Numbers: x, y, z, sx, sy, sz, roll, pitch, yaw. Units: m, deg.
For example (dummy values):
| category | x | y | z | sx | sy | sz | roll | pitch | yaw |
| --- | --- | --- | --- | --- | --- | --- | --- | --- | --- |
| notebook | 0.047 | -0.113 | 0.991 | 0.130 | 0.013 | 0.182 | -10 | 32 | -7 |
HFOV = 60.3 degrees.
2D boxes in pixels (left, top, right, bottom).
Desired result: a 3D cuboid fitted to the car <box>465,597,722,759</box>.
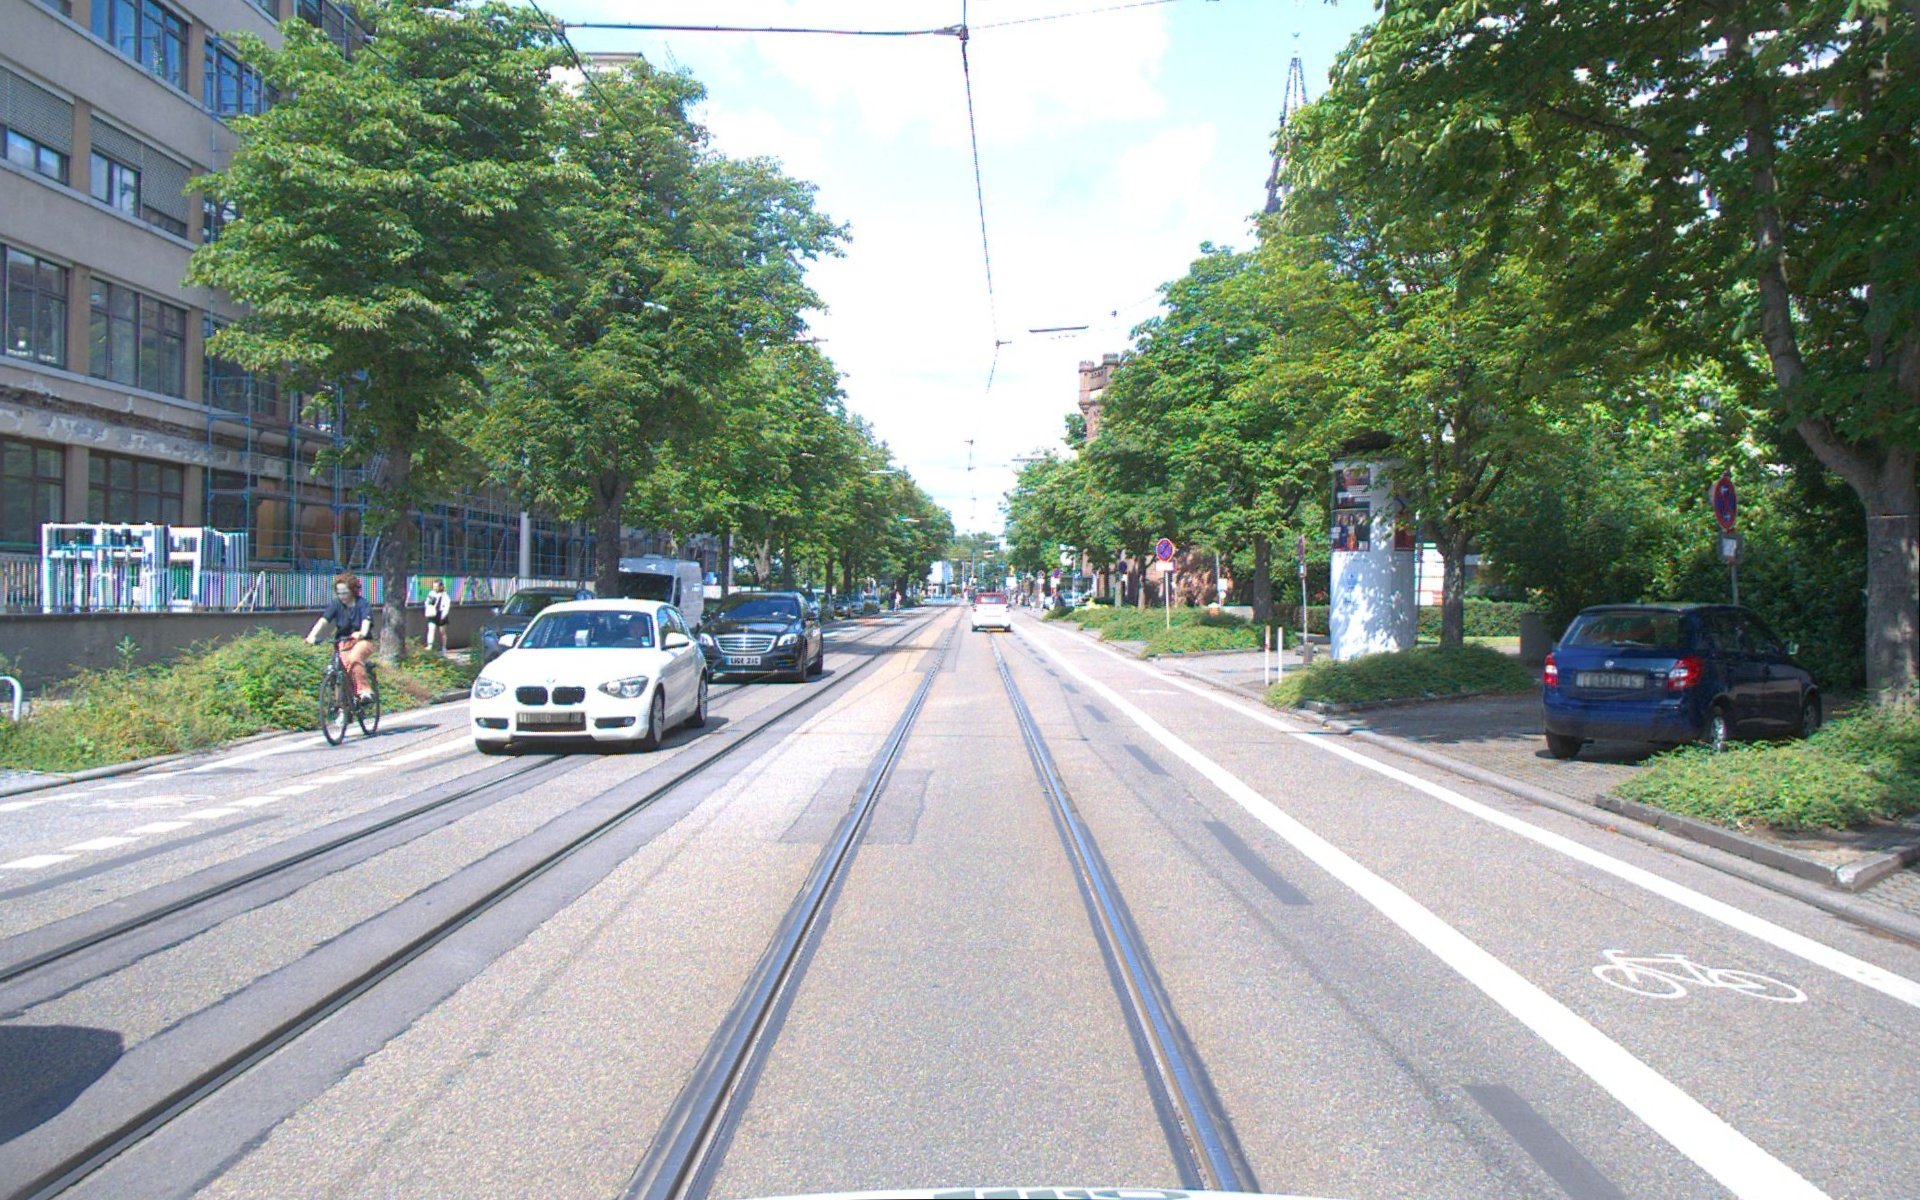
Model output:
| category | x | y | z | sx | sy | sz | roll | pitch | yaw |
| --- | --- | --- | --- | --- | --- | --- | --- | --- | --- |
| car | -3.613 | 0.708 | 17.039 | 1.652 | 1.430 | 4.226 | -1 | 0 | 0 |

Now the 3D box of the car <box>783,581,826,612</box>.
| category | x | y | z | sx | sy | sz | roll | pitch | yaw |
| --- | --- | --- | --- | --- | --- | --- | --- | --- | --- |
| car | -7.895 | -0.180 | 84.168 | 1.767 | 1.543 | 4.103 | 1 | 0 | 0 |

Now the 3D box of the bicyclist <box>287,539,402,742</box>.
| category | x | y | z | sx | sy | sz | roll | pitch | yaw |
| --- | --- | --- | --- | --- | --- | --- | --- | --- | --- |
| bicyclist | -6.428 | 0.419 | 17.307 | 0.859 | 2.049 | 0.833 | -1 | -1 | -1 |

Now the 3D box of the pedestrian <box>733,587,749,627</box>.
| category | x | y | z | sx | sy | sz | roll | pitch | yaw |
| --- | --- | --- | --- | --- | --- | --- | --- | --- | --- |
| pedestrian | -11.148 | 0.343 | 84.314 | 0.788 | 2.049 | 0.484 | 1 | 0 | -9 |

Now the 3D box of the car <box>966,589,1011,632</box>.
| category | x | y | z | sx | sy | sz | roll | pitch | yaw |
| --- | --- | --- | --- | --- | --- | --- | --- | --- | --- |
| car | 1.121 | 0.402 | 66.997 | 1.632 | 1.653 | 3.619 | 0 | 1 | -2 |

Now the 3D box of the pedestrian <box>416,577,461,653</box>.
| category | x | y | z | sx | sy | sz | roll | pitch | yaw |
| --- | --- | --- | --- | --- | --- | --- | --- | --- | --- |
| pedestrian | -11.541 | 0.334 | 36.588 | 0.749 | 1.648 | 0.594 | 2 | 0 | 0 |

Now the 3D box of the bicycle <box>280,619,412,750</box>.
| category | x | y | z | sx | sy | sz | roll | pitch | yaw |
| --- | --- | --- | --- | --- | --- | --- | --- | --- | --- |
| bicycle | -6.427 | 0.850 | 17.418 | 0.630 | 1.186 | 1.944 | -2 | 2 | -1 |

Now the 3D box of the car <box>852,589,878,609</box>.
| category | x | y | z | sx | sy | sz | roll | pitch | yaw |
| --- | --- | --- | --- | --- | --- | --- | --- | --- | --- |
| car | -7.509 | -0.086 | 130.692 | 1.767 | 1.543 | 4.103 | 1 | 0 | 0 |

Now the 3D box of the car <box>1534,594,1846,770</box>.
| category | x | y | z | sx | sy | sz | roll | pitch | yaw |
| --- | --- | --- | --- | --- | --- | --- | --- | --- | --- |
| car | 7.384 | 0.718 | 16.537 | 1.589 | 1.512 | 3.972 | 0 | 0 | 44 |

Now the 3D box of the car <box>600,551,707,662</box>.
| category | x | y | z | sx | sy | sz | roll | pitch | yaw |
| --- | --- | --- | --- | --- | --- | --- | --- | --- | --- |
| car | -7.993 | 0.163 | 43.637 | 1.733 | 2.685 | 5.322 | 2 | 0 | 0 |

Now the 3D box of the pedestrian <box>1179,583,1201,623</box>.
| category | x | y | z | sx | sy | sz | roll | pitch | yaw |
| --- | --- | --- | --- | --- | --- | --- | --- | --- | --- |
| pedestrian | 12.104 | 0.157 | 87.038 | 0.957 | 2.049 | 1.093 | 2 | 0 | -1 |

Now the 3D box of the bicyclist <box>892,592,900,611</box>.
| category | x | y | z | sx | sy | sz | roll | pitch | yaw |
| --- | --- | --- | --- | --- | --- | --- | --- | --- | --- |
| bicyclist | -5.451 | 0.148 | 141.463 | 0.645 | 1.607 | 0.946 | 2 | 0 | -1 |

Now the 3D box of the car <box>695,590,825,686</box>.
| category | x | y | z | sx | sy | sz | roll | pitch | yaw |
| --- | --- | --- | --- | --- | --- | --- | --- | --- | --- |
| car | -3.436 | 0.626 | 29.196 | 1.763 | 1.534 | 4.535 | 1 | 0 | -1 |

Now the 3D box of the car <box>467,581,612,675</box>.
| category | x | y | z | sx | sy | sz | roll | pitch | yaw |
| --- | --- | --- | --- | --- | --- | --- | --- | --- | --- |
| car | -8.286 | 0.521 | 32.963 | 1.768 | 1.691 | 4.103 | 2 | 0 | 0 |

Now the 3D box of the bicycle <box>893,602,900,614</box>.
| category | x | y | z | sx | sy | sz | roll | pitch | yaw |
| --- | --- | --- | --- | --- | --- | --- | --- | --- | --- |
| bicycle | -5.438 | 0.716 | 141.302 | 0.606 | 0.990 | 1.716 | 1 | 0 | -2 |

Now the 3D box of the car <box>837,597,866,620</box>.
| category | x | y | z | sx | sy | sz | roll | pitch | yaw |
| --- | --- | --- | --- | --- | --- | --- | --- | --- | --- |
| car | -7.783 | 0.611 | 118.622 | 1.768 | 1.543 | 4.103 | 2 | 0 | 0 |

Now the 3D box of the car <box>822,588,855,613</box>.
| category | x | y | z | sx | sy | sz | roll | pitch | yaw |
| --- | --- | --- | --- | --- | --- | --- | --- | --- | --- |
| car | -7.787 | 0.014 | 106.150 | 1.767 | 1.543 | 4.103 | 1 | 0 | 0 |
